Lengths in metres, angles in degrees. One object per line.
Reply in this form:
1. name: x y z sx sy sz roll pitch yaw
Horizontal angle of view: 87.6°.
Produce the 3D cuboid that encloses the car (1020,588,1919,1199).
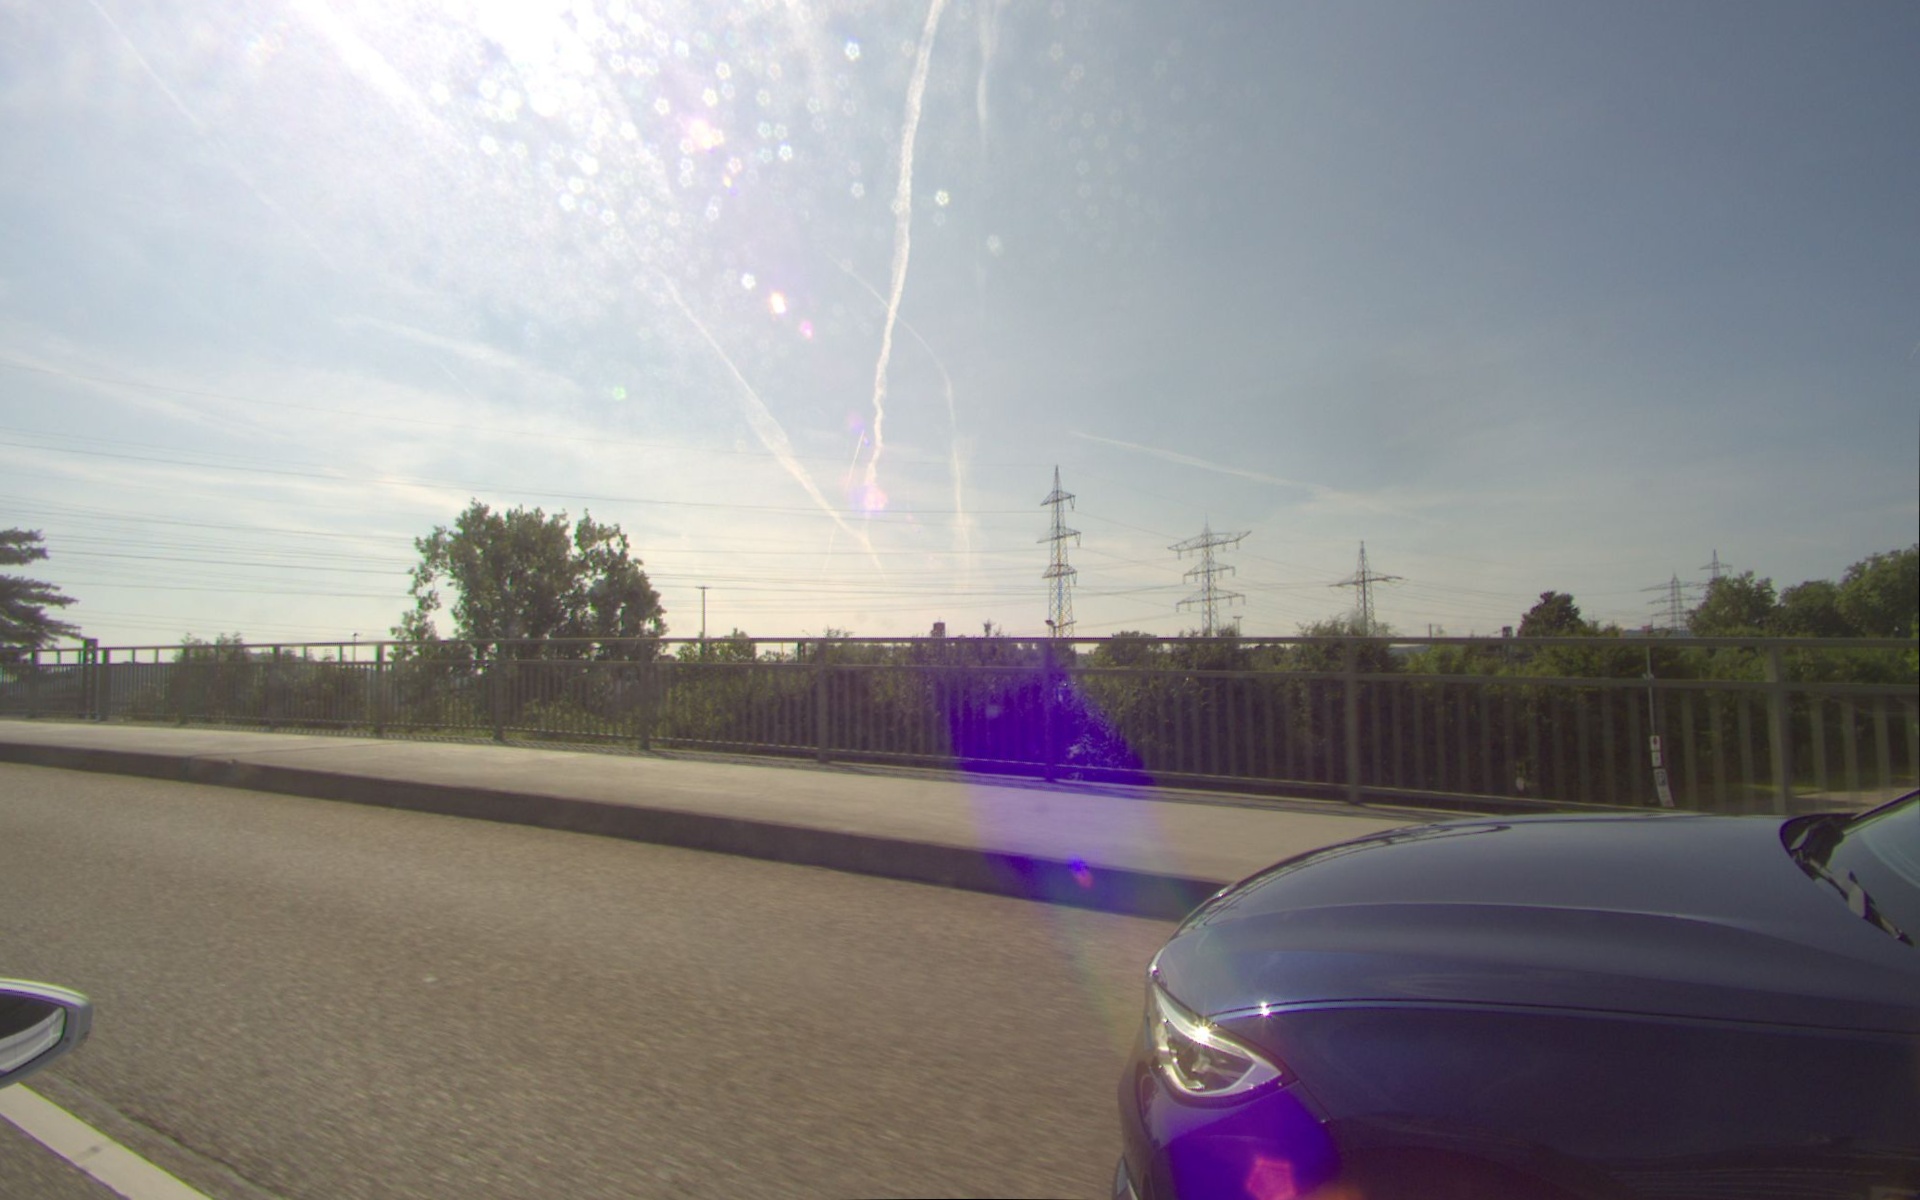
1. car: 2.469 0.730 1.381 4.458 1.500 1.785 -4 -6 32
